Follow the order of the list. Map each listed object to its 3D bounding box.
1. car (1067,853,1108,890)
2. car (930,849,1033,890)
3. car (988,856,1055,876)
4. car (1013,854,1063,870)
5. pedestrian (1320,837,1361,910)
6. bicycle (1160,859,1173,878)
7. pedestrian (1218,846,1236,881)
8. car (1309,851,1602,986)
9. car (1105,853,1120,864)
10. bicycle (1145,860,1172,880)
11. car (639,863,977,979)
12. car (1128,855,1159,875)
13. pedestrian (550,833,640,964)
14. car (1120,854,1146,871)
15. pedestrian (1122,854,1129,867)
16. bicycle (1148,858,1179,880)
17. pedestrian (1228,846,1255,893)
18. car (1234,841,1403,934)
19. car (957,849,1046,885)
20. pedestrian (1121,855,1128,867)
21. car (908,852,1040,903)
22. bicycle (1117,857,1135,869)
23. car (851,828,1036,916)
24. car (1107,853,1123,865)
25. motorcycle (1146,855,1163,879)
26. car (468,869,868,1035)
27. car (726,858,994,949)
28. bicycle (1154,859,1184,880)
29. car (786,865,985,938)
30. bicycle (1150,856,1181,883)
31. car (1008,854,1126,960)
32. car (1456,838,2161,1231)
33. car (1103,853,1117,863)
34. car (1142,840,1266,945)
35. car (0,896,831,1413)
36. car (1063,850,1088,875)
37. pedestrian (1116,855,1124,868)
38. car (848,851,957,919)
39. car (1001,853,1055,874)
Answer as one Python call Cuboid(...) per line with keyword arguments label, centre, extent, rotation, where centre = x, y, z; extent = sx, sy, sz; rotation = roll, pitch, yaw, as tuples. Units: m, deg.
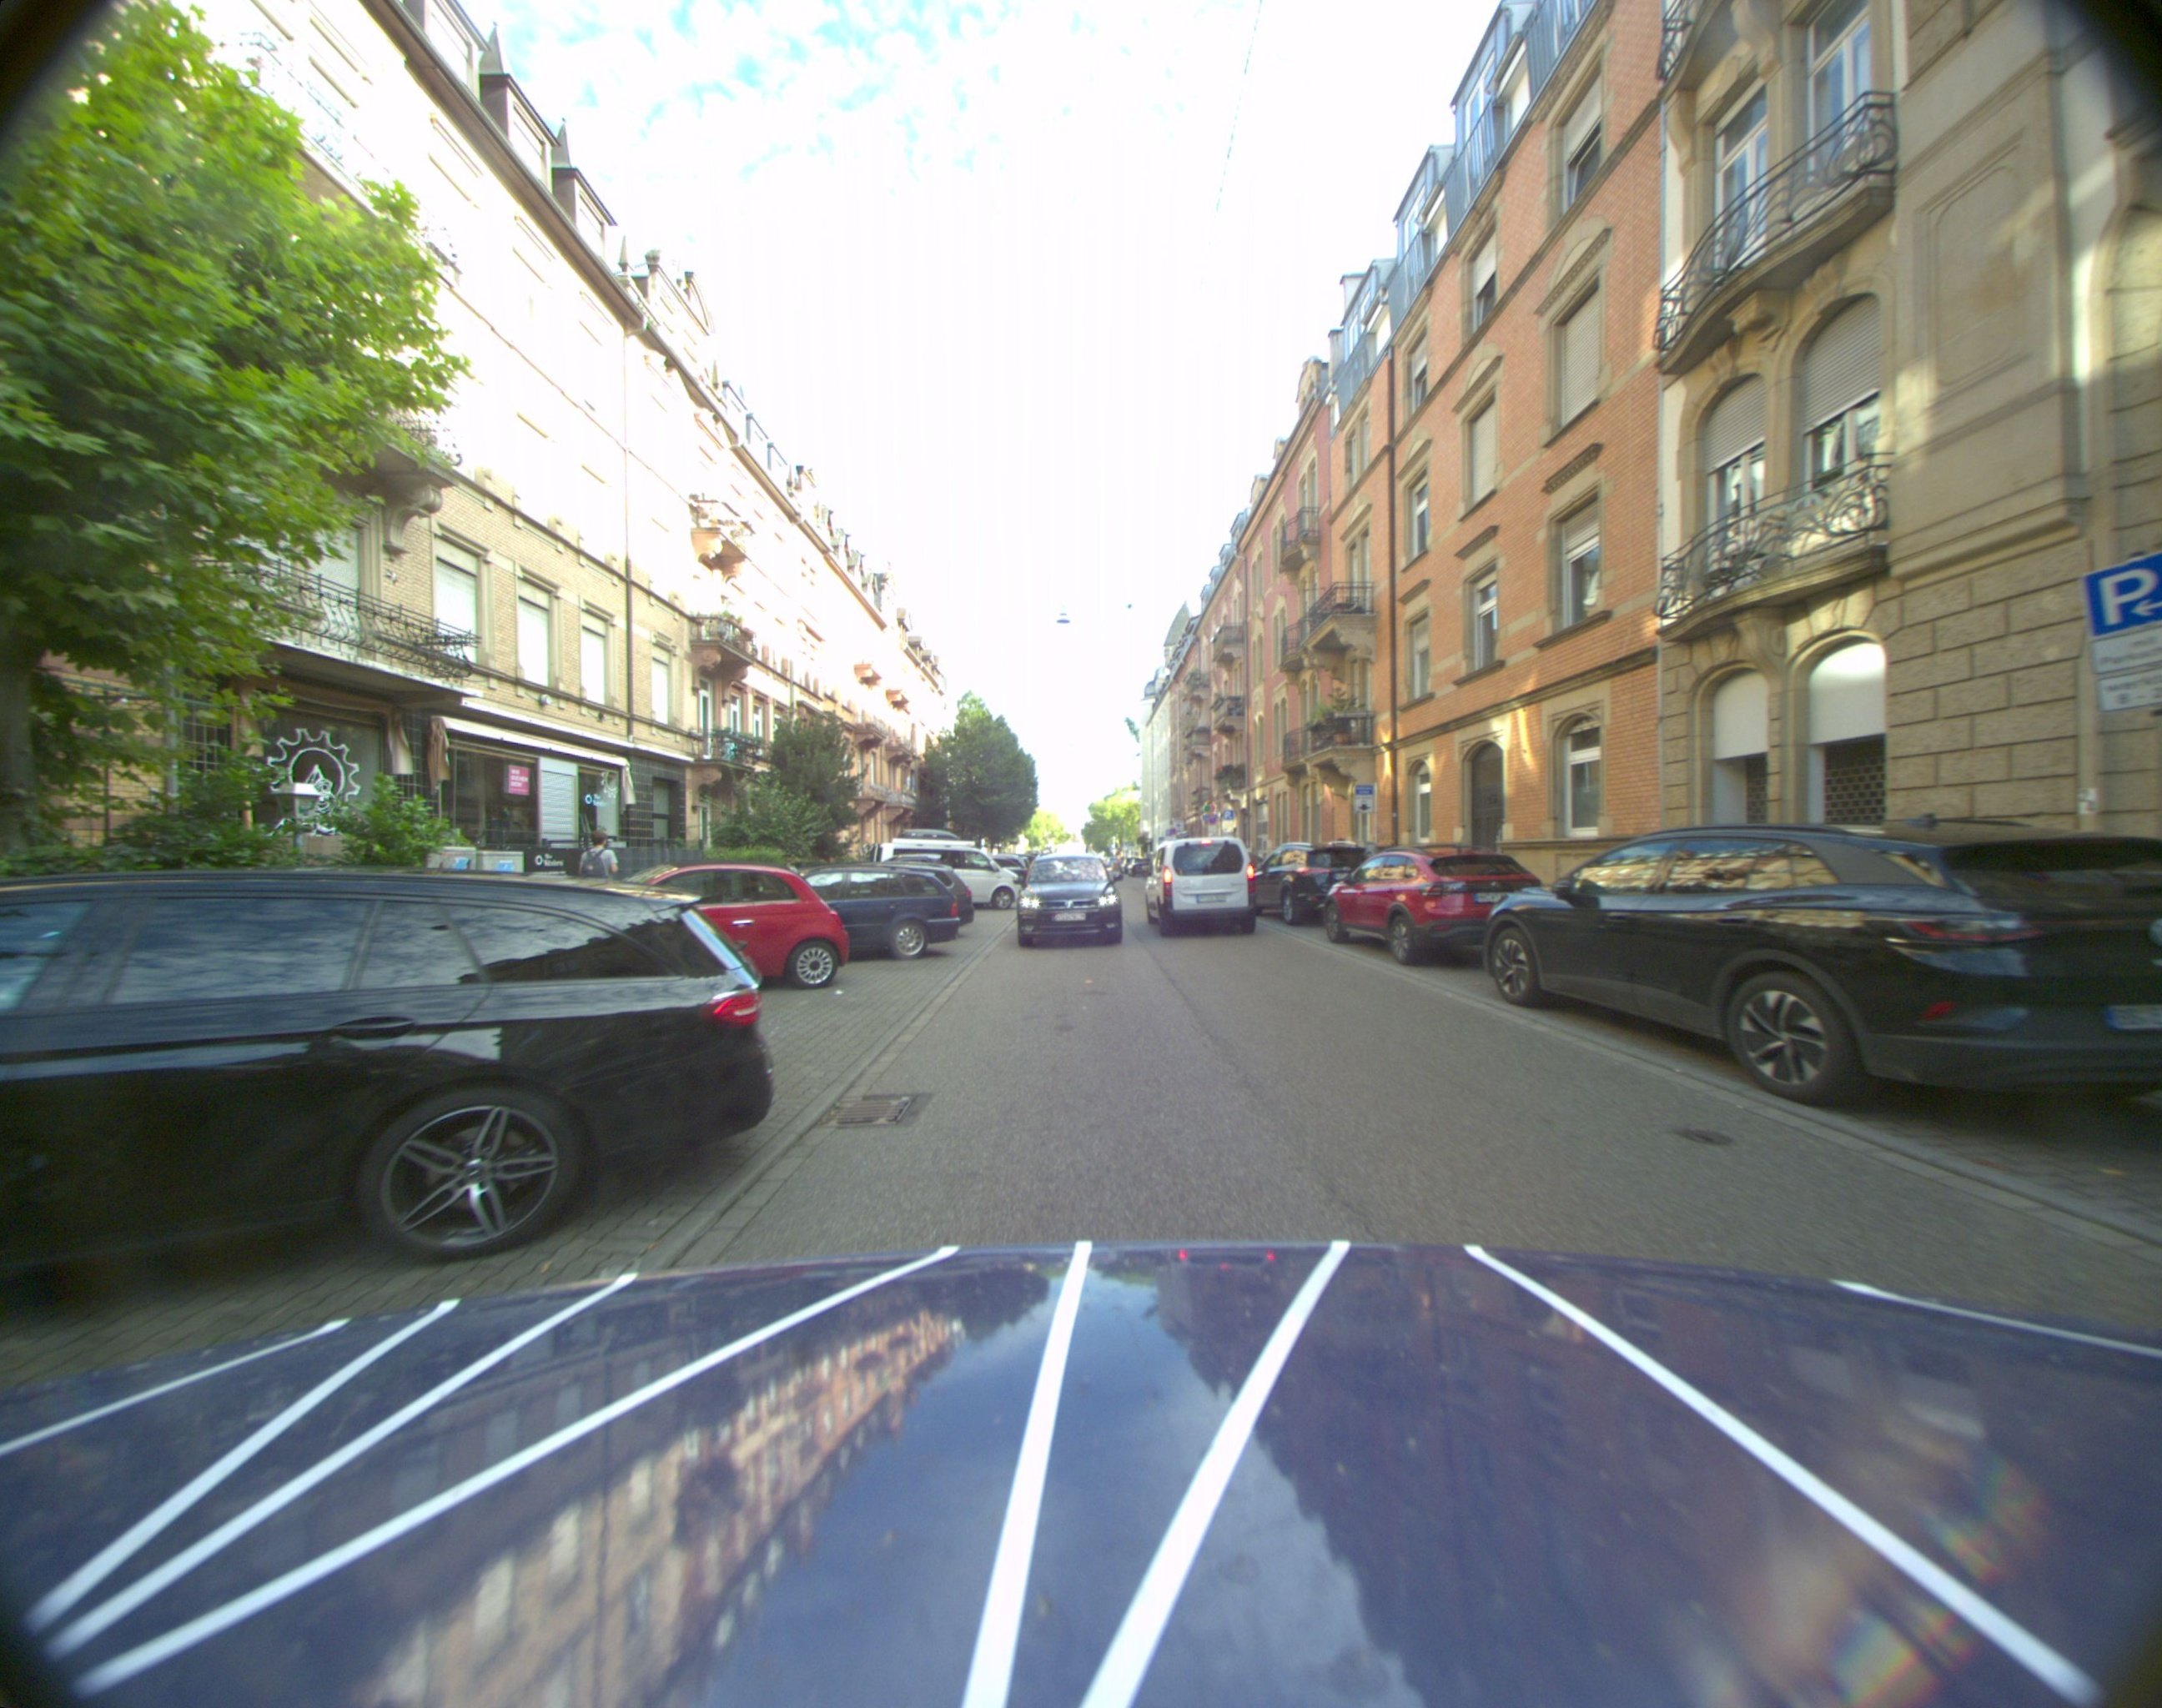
Cuboid(label="car", centre=(0.330, 0.827, 37.294), extent=(1.811, 1.622, 4.000), rotation=(-3, 0, 1))
Cuboid(label="car", centre=(-4.703, 0.766, 36.351), extent=(4.649, 1.774, 1.810), rotation=(2, -2, -1))
Cuboid(label="car", centre=(-4.410, 0.897, 56.734), extent=(4.620, 1.443, 1.788), rotation=(1, 0, -32))
Cuboid(label="car", centre=(-4.490, 0.851, 79.299), extent=(4.817, 1.535, 1.866), rotation=(1, 0, -32))
Cuboid(label="pedestrian", centre=(6.658, 0.494, 19.532), extent=(0.758, 1.797, 0.863), rotation=(-2, 1, 3))
Cuboid(label="bicycle", centre=(5.163, 0.881, 45.782), extent=(0.579, 1.084, 1.740), rotation=(-2, 0, 13))
Cuboid(label="pedestrian", centre=(7.302, 0.464, 37.974), extent=(0.665, 1.686, 0.763), rotation=(-2, 1, 0))
Cuboid(label="car", centre=(5.015, 0.742, 11.025), extent=(1.999, 1.536, 4.426), rotation=(-1, 0, -1))
Cuboid(label="car", centre=(4.550, 0.624, 109.193), extent=(1.911, 1.412, 4.000), rotation=(-2, 0, 0))
Cuboid(label="bicycle", centre=(4.510, 0.912, 44.098), extent=(1.573, 1.114, 0.589), rotation=(-2, 1, -36))
Cuboid(label="car", centre=(-4.028, 0.907, 11.539), extent=(4.478, 1.455, 1.875), rotation=(2, -1, -35))
Cuboid(label="car", centre=(4.617, 0.774, 56.797), extent=(1.817, 1.343, 5.114), rotation=(-2, 0, -1))
Cuboid(label="pedestrian", centre=(-7.149, 0.632, 11.207), extent=(0.841, 1.867, 0.723), rotation=(0, 0, 4))
Cuboid(label="car", centre=(4.547, 0.732, 66.660), extent=(1.674, 1.407, 4.010), rotation=(-2, 0, -4))
Cuboid(label="pedestrian", centre=(4.722, 0.719, 80.593), extent=(0.689, 1.365, 0.739), rotation=(-2, 1, 3))
Cuboid(label="bicycle", centre=(4.729, 0.854, 43.483), extent=(1.794, 1.193, 0.589), rotation=(-2, 1, -36))
Cuboid(label="pedestrian", centre=(5.760, 0.560, 27.236), extent=(0.682, 1.651, 0.550), rotation=(-2, 1, -30))
Cuboid(label="car", centre=(4.974, 0.655, 16.761), extent=(1.878, 1.671, 4.893), rotation=(-2, 0, -4))
Cuboid(label="car", centre=(-4.241, 0.706, 40.683), extent=(4.412, 1.812, 1.750), rotation=(1, 1, -32))
Cuboid(label="pedestrian", centre=(4.709, 0.732, 81.968), extent=(0.668, 1.328, 0.740), rotation=(-2, 1, 7))
Cuboid(label="car", centre=(-4.000, 0.847, 28.695), extent=(4.465, 1.722, 1.995), rotation=(-1, 0, -35))
Cuboid(label="bicycle", centre=(4.696, 0.898, 79.467), extent=(1.872, 1.168, 0.688), rotation=(-2, 1, 1))
Cuboid(label="car", centre=(-4.094, 0.498, 22.966), extent=(5.169, 2.391, 1.913), rotation=(0, 0, -33))
Cuboid(label="car", centre=(4.580, 0.626, 103.107), extent=(1.828, 1.477, 4.169), rotation=(-2, 0, 0))
Cuboid(label="motorcycle", centre=(4.471, 0.759, 45.997), extent=(0.708, 1.376, 2.026), rotation=(-2, 0, 14))
Cuboid(label="car", centre=(-4.562, 0.924, 8.658), extent=(3.727, 1.476, 1.736), rotation=(1, -1, -38))
Cuboid(label="car", centre=(-4.077, 0.894, 14.442), extent=(4.479, 1.468, 1.884), rotation=(3, -2, -40))
Cuboid(label="bicycle", centre=(4.966, 0.884, 42.896), extent=(1.741, 1.114, 0.554), rotation=(-2, 1, -36))
Cuboid(label="car", centre=(-4.333, 0.978, 17.175), extent=(4.003, 1.450, 1.746), rotation=(1, 0, -41))
Cuboid(label="bicycle", centre=(4.507, 0.816, 40.298), extent=(1.680, 1.314, 0.526), rotation=(-2, 1, -36))
Cuboid(label="car", centre=(-0.102, 0.868, 14.566), extent=(1.874, 1.644, 4.388), rotation=(-2, 0, 4))
Cuboid(label="car", centre=(4.837, 0.724, 5.553), extent=(1.795, 1.619, 4.846), rotation=(-1, 0, 0))
Cuboid(label="car", centre=(4.435, 0.602, 115.687), extent=(1.911, 1.412, 4.000), rotation=(-2, 0, 0))
Cuboid(label="car", centre=(2.385, 0.688, 15.848), extent=(1.922, 1.817, 4.438), rotation=(-2, 0, 1))
Cuboid(label="car", centre=(-3.699, 0.931, 3.119), extent=(4.776, 1.448, 2.052), rotation=(2, -1, -28))
Cuboid(label="car", centre=(-0.417, 0.677, 62.851), extent=(1.811, 1.914, 4.000), rotation=(-3, 0, 1))
Cuboid(label="pedestrian", centre=(4.171, 0.776, 81.169), extent=(0.739, 1.341, 0.644), rotation=(-2, 1, 2))
Cuboid(label="car", centre=(-4.676, 0.825, 19.874), extent=(2.472, 1.656, 1.344), rotation=(3, -2, -26))
Cuboid(label="car", centre=(-4.378, 0.799, 63.013), extent=(4.007, 1.689, 1.848), rotation=(0, -1, -35))
